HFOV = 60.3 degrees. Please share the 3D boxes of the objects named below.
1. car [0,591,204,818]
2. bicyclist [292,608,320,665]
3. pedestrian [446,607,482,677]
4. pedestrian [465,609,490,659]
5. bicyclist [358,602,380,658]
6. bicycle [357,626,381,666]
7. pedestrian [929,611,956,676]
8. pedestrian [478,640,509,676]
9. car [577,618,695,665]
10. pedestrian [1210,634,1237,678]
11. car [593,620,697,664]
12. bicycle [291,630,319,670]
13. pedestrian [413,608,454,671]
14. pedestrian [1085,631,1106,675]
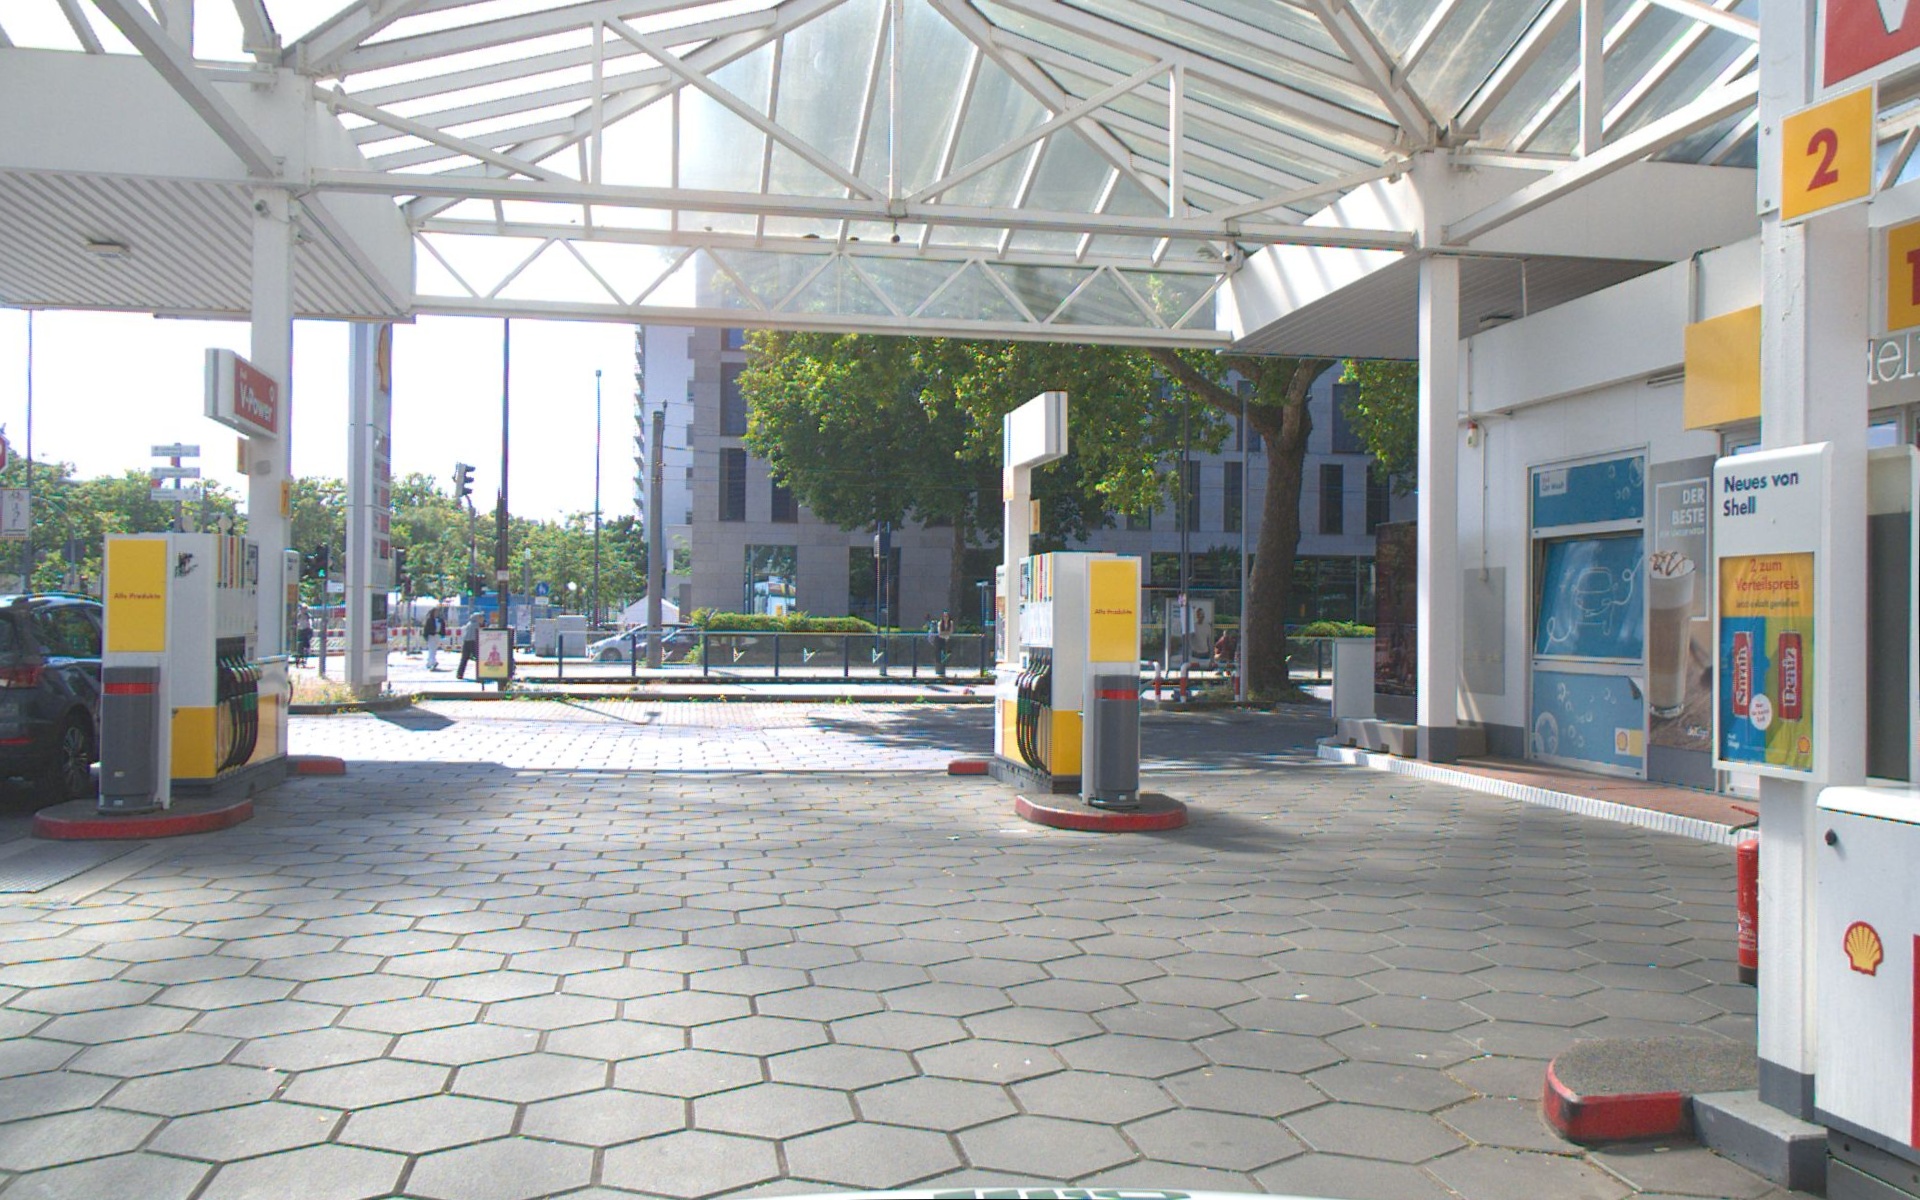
[{"bbox_3d":[-7.521,0.771,13.248,1.712,1.559,3.990,-1,-1,-10],"label":"car"},{"bbox_3d":[-18.508,1.030,46.825,0.628,1.608,1.167,1,-1,-18],"label":"bicyclist"},{"bbox_3d":[-12.296,1.039,40.979,0.767,1.712,0.499,1,-1,-26],"label":"pedestrian"},{"bbox_3d":[-15.300,1.075,52.433,0.637,1.567,0.503,1,-1,-1],"label":"pedestrian"},{"bbox_3d":[-16.747,0.850,46.858,0.526,1.571,0.859,1,-2,-23],"label":"bicyclist"},{"bbox_3d":[-16.733,1.283,46.835,0.516,1.101,1.853,1,-1,-23],"label":"bicycle"},{"bbox_3d":[-0.459,1.113,42.574,0.573,1.619,0.668,1,0,-10],"label":"pedestrian"},{"bbox_3d":[-11.644,1.449,41.304,0.681,0.896,0.499,1,-1,-25],"label":"pedestrian"},{"bbox_3d":[-11.219,1.444,57.233,3.921,1.579,1.696,1,-1,-16],"label":"car"},{"bbox_3d":[7.046,1.498,44.202,0.616,1.158,0.523,1,-1,-4],"label":"pedestrian"},{"bbox_3d":[-11.531,1.542,60.546,3.621,1.579,1.585,1,-1,-16],"label":"car"},{"bbox_3d":[-18.496,1.410,46.740,0.628,1.101,2.015,1,-1,-19],"label":"bicycle"},{"bbox_3d":[-14.472,1.083,45.454,0.912,1.712,0.503,0,-1,4],"label":"pedestrian"},{"bbox_3d":[3.559,1.387,43.493,0.489,1.158,0.523,1,-1,-4],"label":"pedestrian"}]
